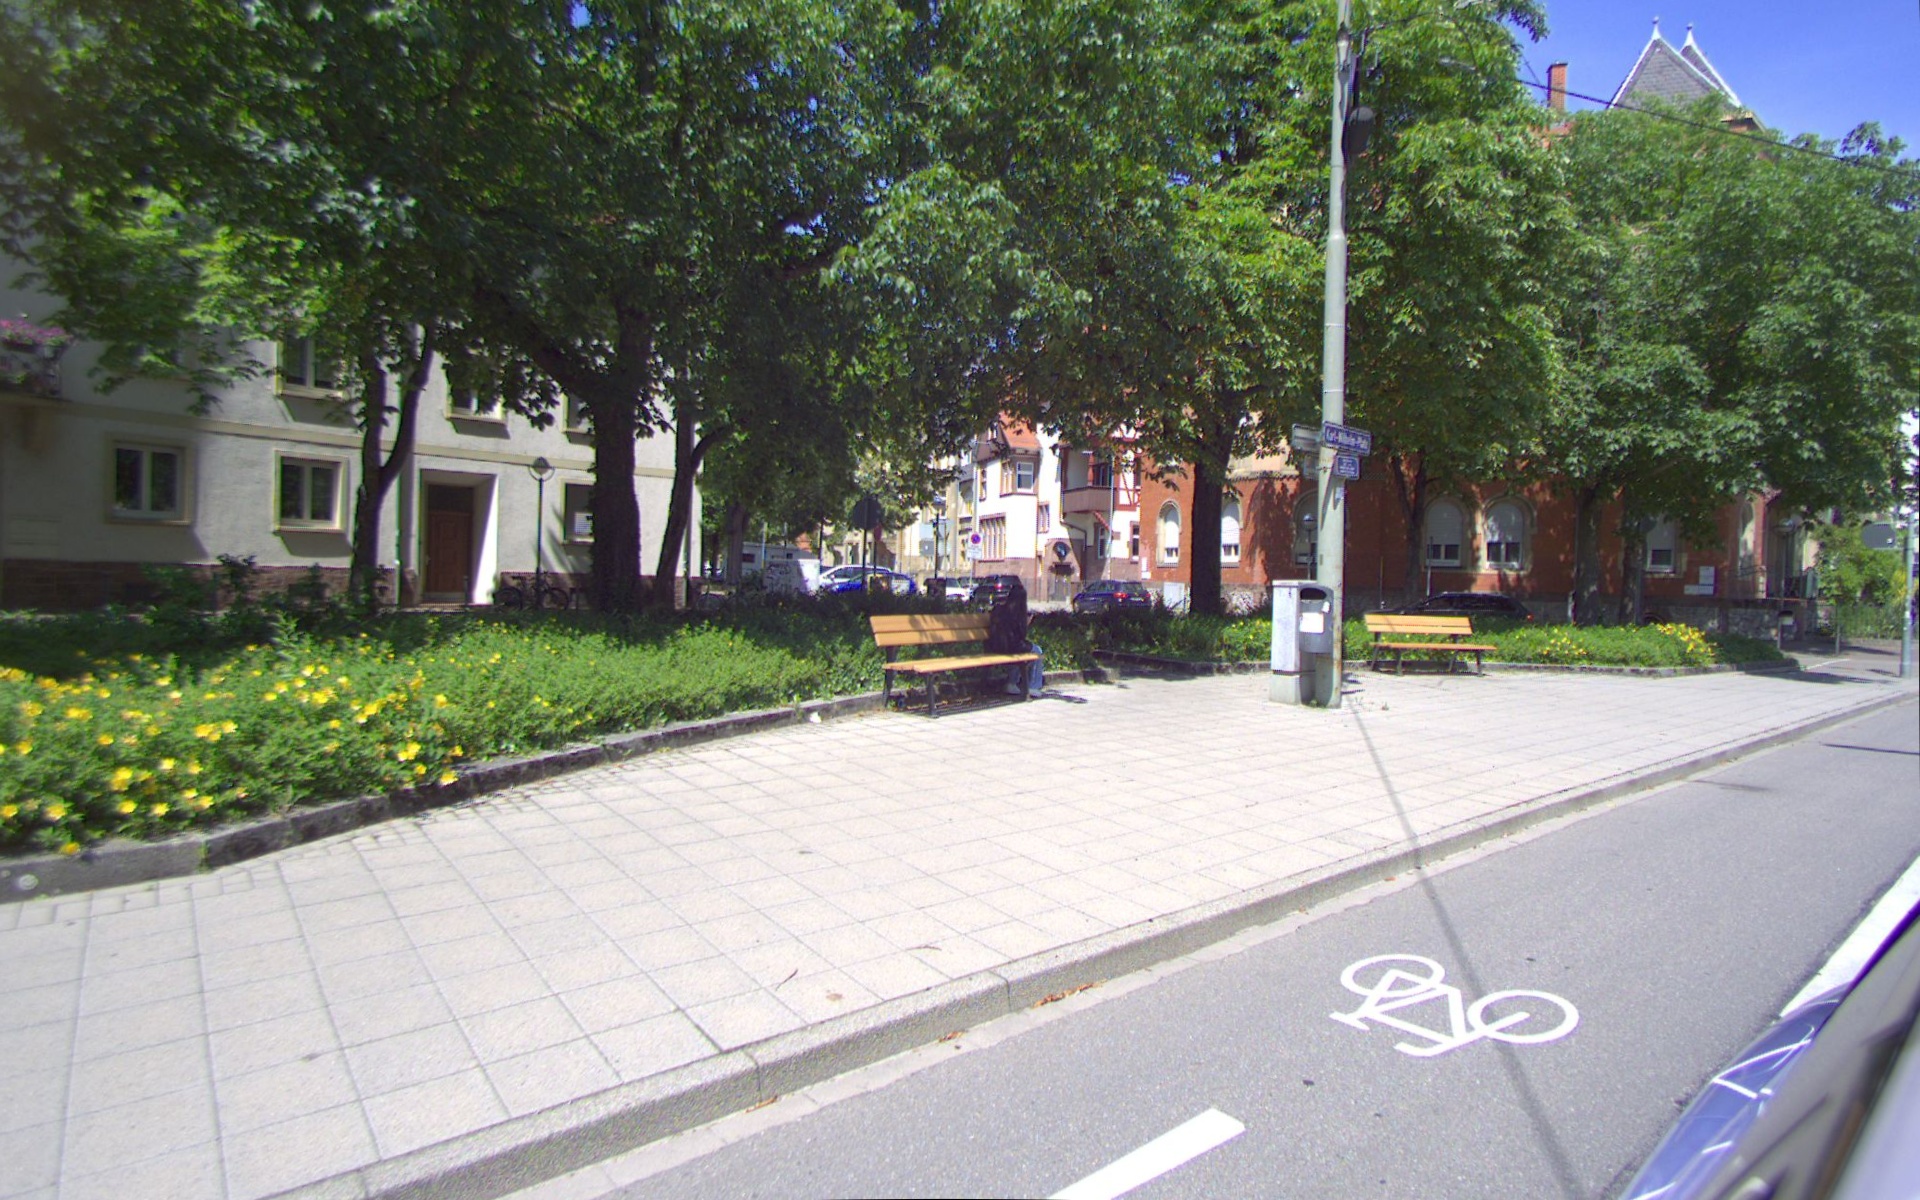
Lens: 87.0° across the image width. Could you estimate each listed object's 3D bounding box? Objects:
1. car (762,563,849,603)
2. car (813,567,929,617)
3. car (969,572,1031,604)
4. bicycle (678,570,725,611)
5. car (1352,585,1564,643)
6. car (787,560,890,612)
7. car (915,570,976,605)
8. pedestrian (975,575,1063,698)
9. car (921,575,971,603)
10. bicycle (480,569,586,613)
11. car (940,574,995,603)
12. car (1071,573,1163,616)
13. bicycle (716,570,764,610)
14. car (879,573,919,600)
[{"bbox_3d":[-8.087,-0.883,52.937,4.219,2.029,1.942,0,0,-18],"label":"car"},{"bbox_3d":[-3.547,-0.322,40.015,4.219,1.903,1.942,0,0,-18],"label":"car"},{"bbox_3d":[2.063,-0.619,54.074,1.897,1.638,4.318,0,0,-19],"label":"car"},{"bbox_3d":[-6.779,-0.260,26.474,0.736,1.024,2.273,0,0,-26],"label":"bicycle"},{"bbox_3d":[13.451,0.357,27.717,4.971,1.501,1.926,0,0,20],"label":"car"},{"bbox_3d":[-5.375,-0.628,44.828,4.219,2.219,1.942,0,0,-18],"label":"car"},{"bbox_3d":[-0.734,-0.608,47.012,1.669,1.525,3.660,1,1,-21],"label":"car"},{"bbox_3d":[0.595,0.337,10.073,0.562,1.156,0.718,3,2,33],"label":"pedestrian"},{"bbox_3d":[-0.921,-0.691,63.252,1.897,1.638,4.318,0,0,-19],"label":"car"},{"bbox_3d":[-10.256,-0.222,24.374,2.230,1.024,0.751,-1,0,-41],"label":"bicycle"},{"bbox_3d":[0.377,-0.654,58.681,1.897,1.638,4.318,0,0,-19],"label":"car"},{"bbox_3d":[6.272,-0.232,41.024,1.897,1.638,4.318,0,0,-19],"label":"car"},{"bbox_3d":[-5.871,-0.268,26.903,0.736,1.024,2.273,0,0,-26],"label":"bicycle"},{"bbox_3d":[-4.505,-1.006,74.461,1.897,1.897,4.318,0,0,-19],"label":"car"}]
